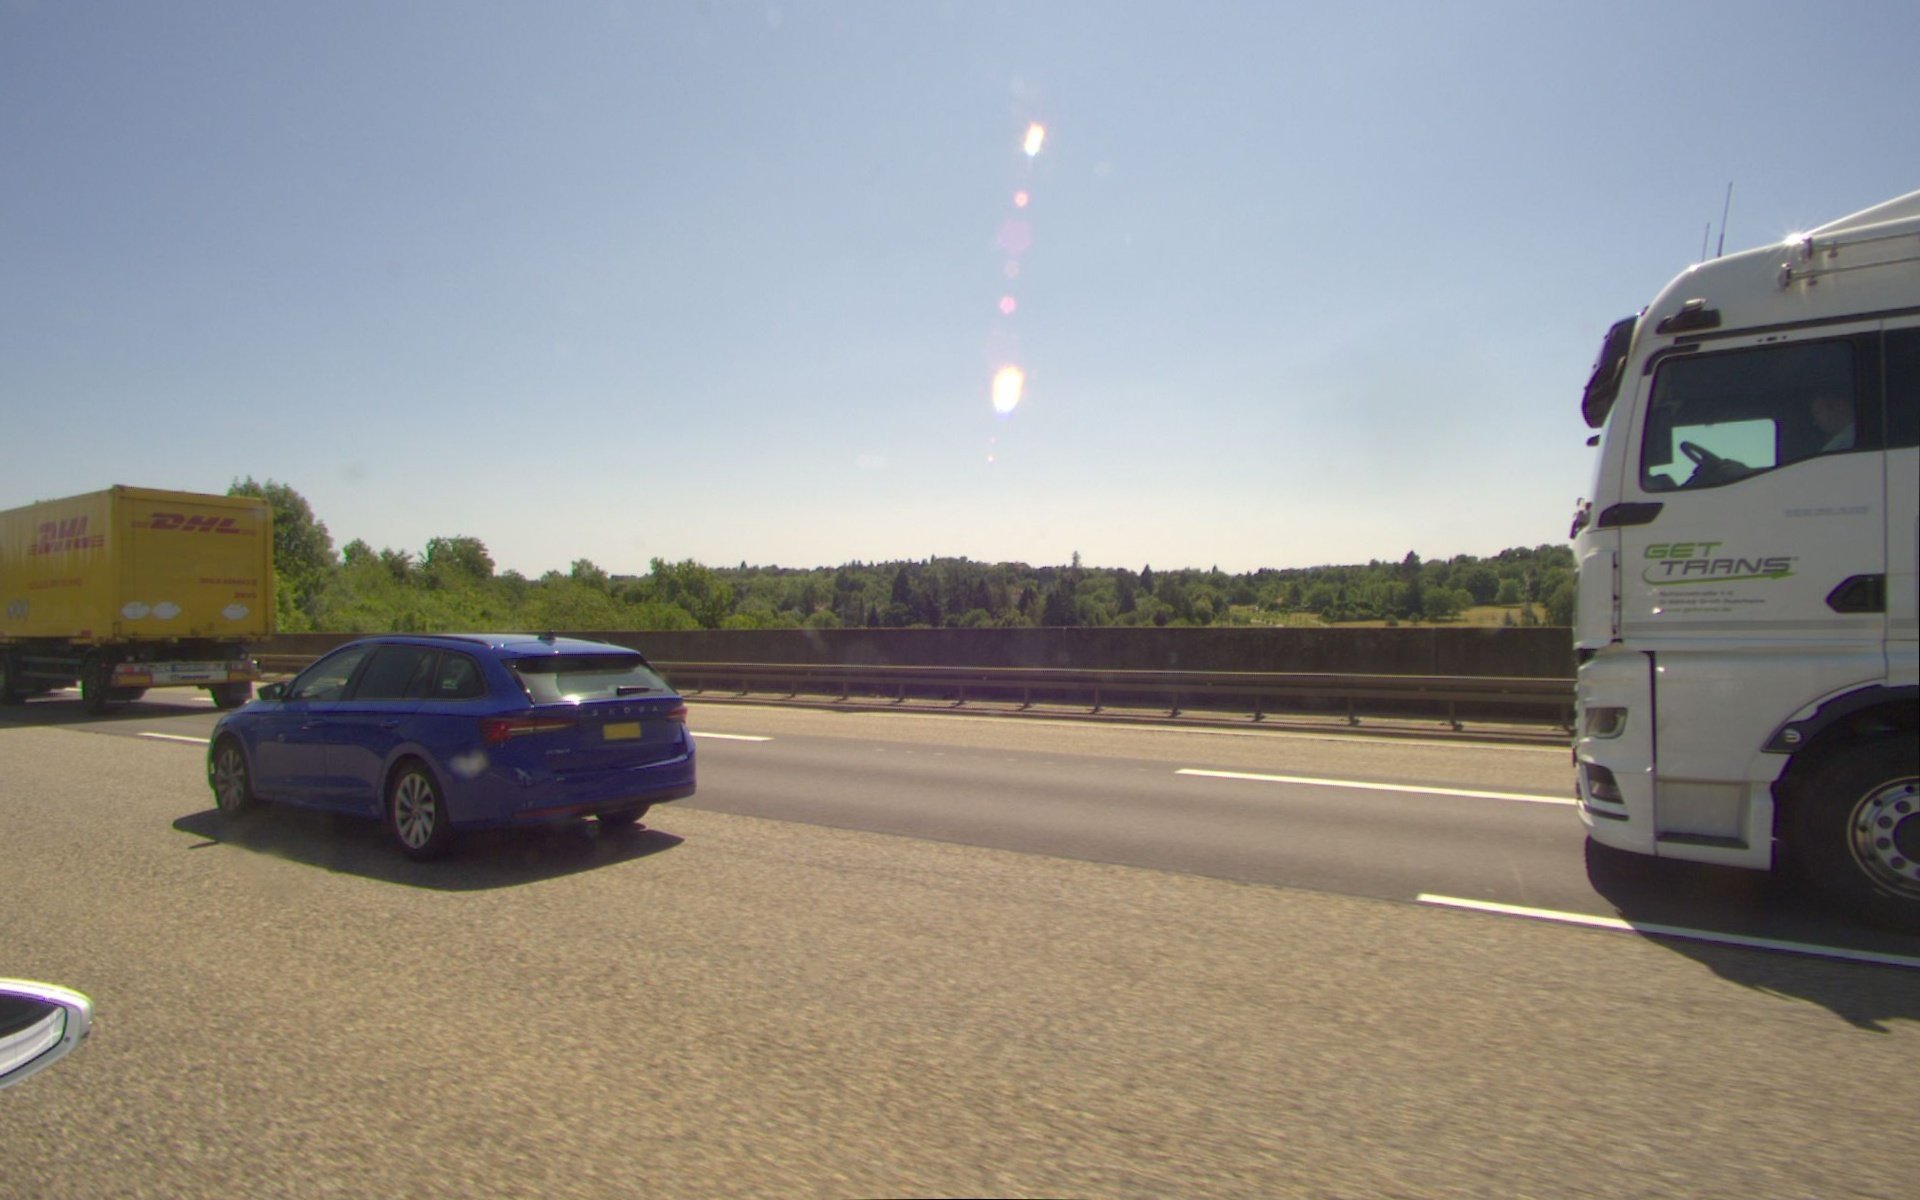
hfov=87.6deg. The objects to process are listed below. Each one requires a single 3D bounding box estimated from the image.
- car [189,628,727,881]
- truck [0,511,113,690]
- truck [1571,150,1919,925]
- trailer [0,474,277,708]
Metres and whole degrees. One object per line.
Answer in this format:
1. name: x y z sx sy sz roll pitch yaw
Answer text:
1. car: -4.003 0.956 7.732 4.436 1.459 1.706 -1 -1 33
2. truck: -25.817 0.168 26.231 10.192 4.106 2.717 -2 -2 33
3. truck: 8.566 -0.310 3.832 10.614 3.648 2.846 -1 -2 32
4. trailer: -17.865 -0.004 21.010 8.807 4.074 2.696 -2 -2 33
